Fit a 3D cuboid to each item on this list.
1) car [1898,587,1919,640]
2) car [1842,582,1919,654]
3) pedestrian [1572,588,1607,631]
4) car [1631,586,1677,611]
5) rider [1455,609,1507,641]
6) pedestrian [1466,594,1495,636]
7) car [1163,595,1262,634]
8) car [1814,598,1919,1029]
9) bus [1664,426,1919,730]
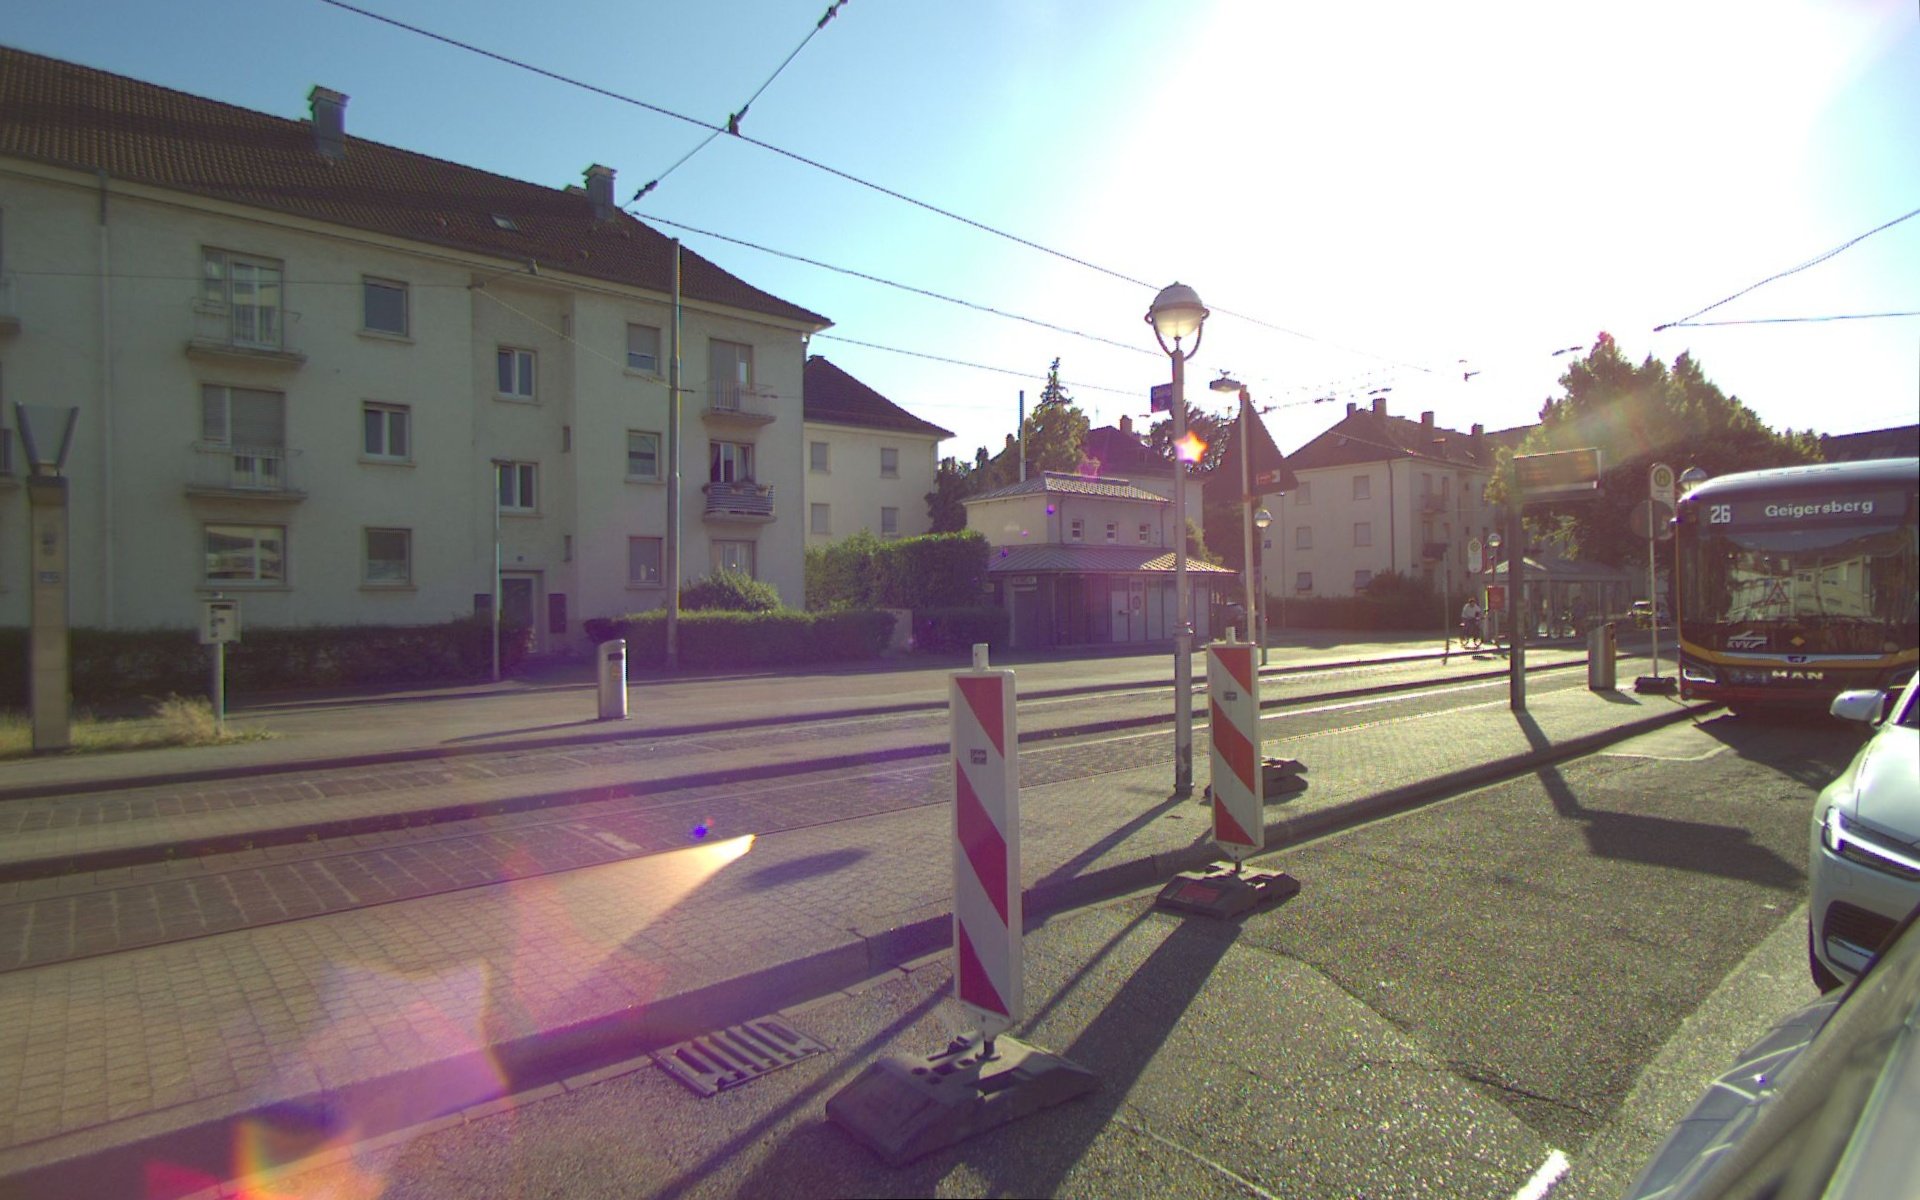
[{"bbox_3d":[28.779,0.370,29.221,4.740,1.477,1.968,0,0,-41],"label":"car"},{"bbox_3d":[21.219,0.361,22.356,4.740,1.477,1.968,0,0,-41],"label":"car"},{"bbox_3d":[23.859,0.345,38.371,0.828,1.631,0.824,0,0,6],"label":"pedestrian"},{"bbox_3d":[53.776,-0.112,78.425,3.930,1.887,1.997,-1,0,-41],"label":"car"},{"bbox_3d":[17.475,0.819,33.994,0.568,1.004,1.860,0,0,-9],"label":"rider"},{"bbox_3d":[17.471,0.489,33.984,0.568,1.398,0.659,0,0,-9],"label":"pedestrian"},{"bbox_3d":[11.581,0.680,46.660,1.964,1.694,4.050,-1,-1,-39],"label":"car"},{"bbox_3d":[5.266,0.734,4.351,4.143,1.472,1.819,0,0,-41],"label":"car"},{"bbox_3d":[14.311,-0.262,15.839,11.824,3.345,2.745,0,0,-42],"label":"bus"}]
